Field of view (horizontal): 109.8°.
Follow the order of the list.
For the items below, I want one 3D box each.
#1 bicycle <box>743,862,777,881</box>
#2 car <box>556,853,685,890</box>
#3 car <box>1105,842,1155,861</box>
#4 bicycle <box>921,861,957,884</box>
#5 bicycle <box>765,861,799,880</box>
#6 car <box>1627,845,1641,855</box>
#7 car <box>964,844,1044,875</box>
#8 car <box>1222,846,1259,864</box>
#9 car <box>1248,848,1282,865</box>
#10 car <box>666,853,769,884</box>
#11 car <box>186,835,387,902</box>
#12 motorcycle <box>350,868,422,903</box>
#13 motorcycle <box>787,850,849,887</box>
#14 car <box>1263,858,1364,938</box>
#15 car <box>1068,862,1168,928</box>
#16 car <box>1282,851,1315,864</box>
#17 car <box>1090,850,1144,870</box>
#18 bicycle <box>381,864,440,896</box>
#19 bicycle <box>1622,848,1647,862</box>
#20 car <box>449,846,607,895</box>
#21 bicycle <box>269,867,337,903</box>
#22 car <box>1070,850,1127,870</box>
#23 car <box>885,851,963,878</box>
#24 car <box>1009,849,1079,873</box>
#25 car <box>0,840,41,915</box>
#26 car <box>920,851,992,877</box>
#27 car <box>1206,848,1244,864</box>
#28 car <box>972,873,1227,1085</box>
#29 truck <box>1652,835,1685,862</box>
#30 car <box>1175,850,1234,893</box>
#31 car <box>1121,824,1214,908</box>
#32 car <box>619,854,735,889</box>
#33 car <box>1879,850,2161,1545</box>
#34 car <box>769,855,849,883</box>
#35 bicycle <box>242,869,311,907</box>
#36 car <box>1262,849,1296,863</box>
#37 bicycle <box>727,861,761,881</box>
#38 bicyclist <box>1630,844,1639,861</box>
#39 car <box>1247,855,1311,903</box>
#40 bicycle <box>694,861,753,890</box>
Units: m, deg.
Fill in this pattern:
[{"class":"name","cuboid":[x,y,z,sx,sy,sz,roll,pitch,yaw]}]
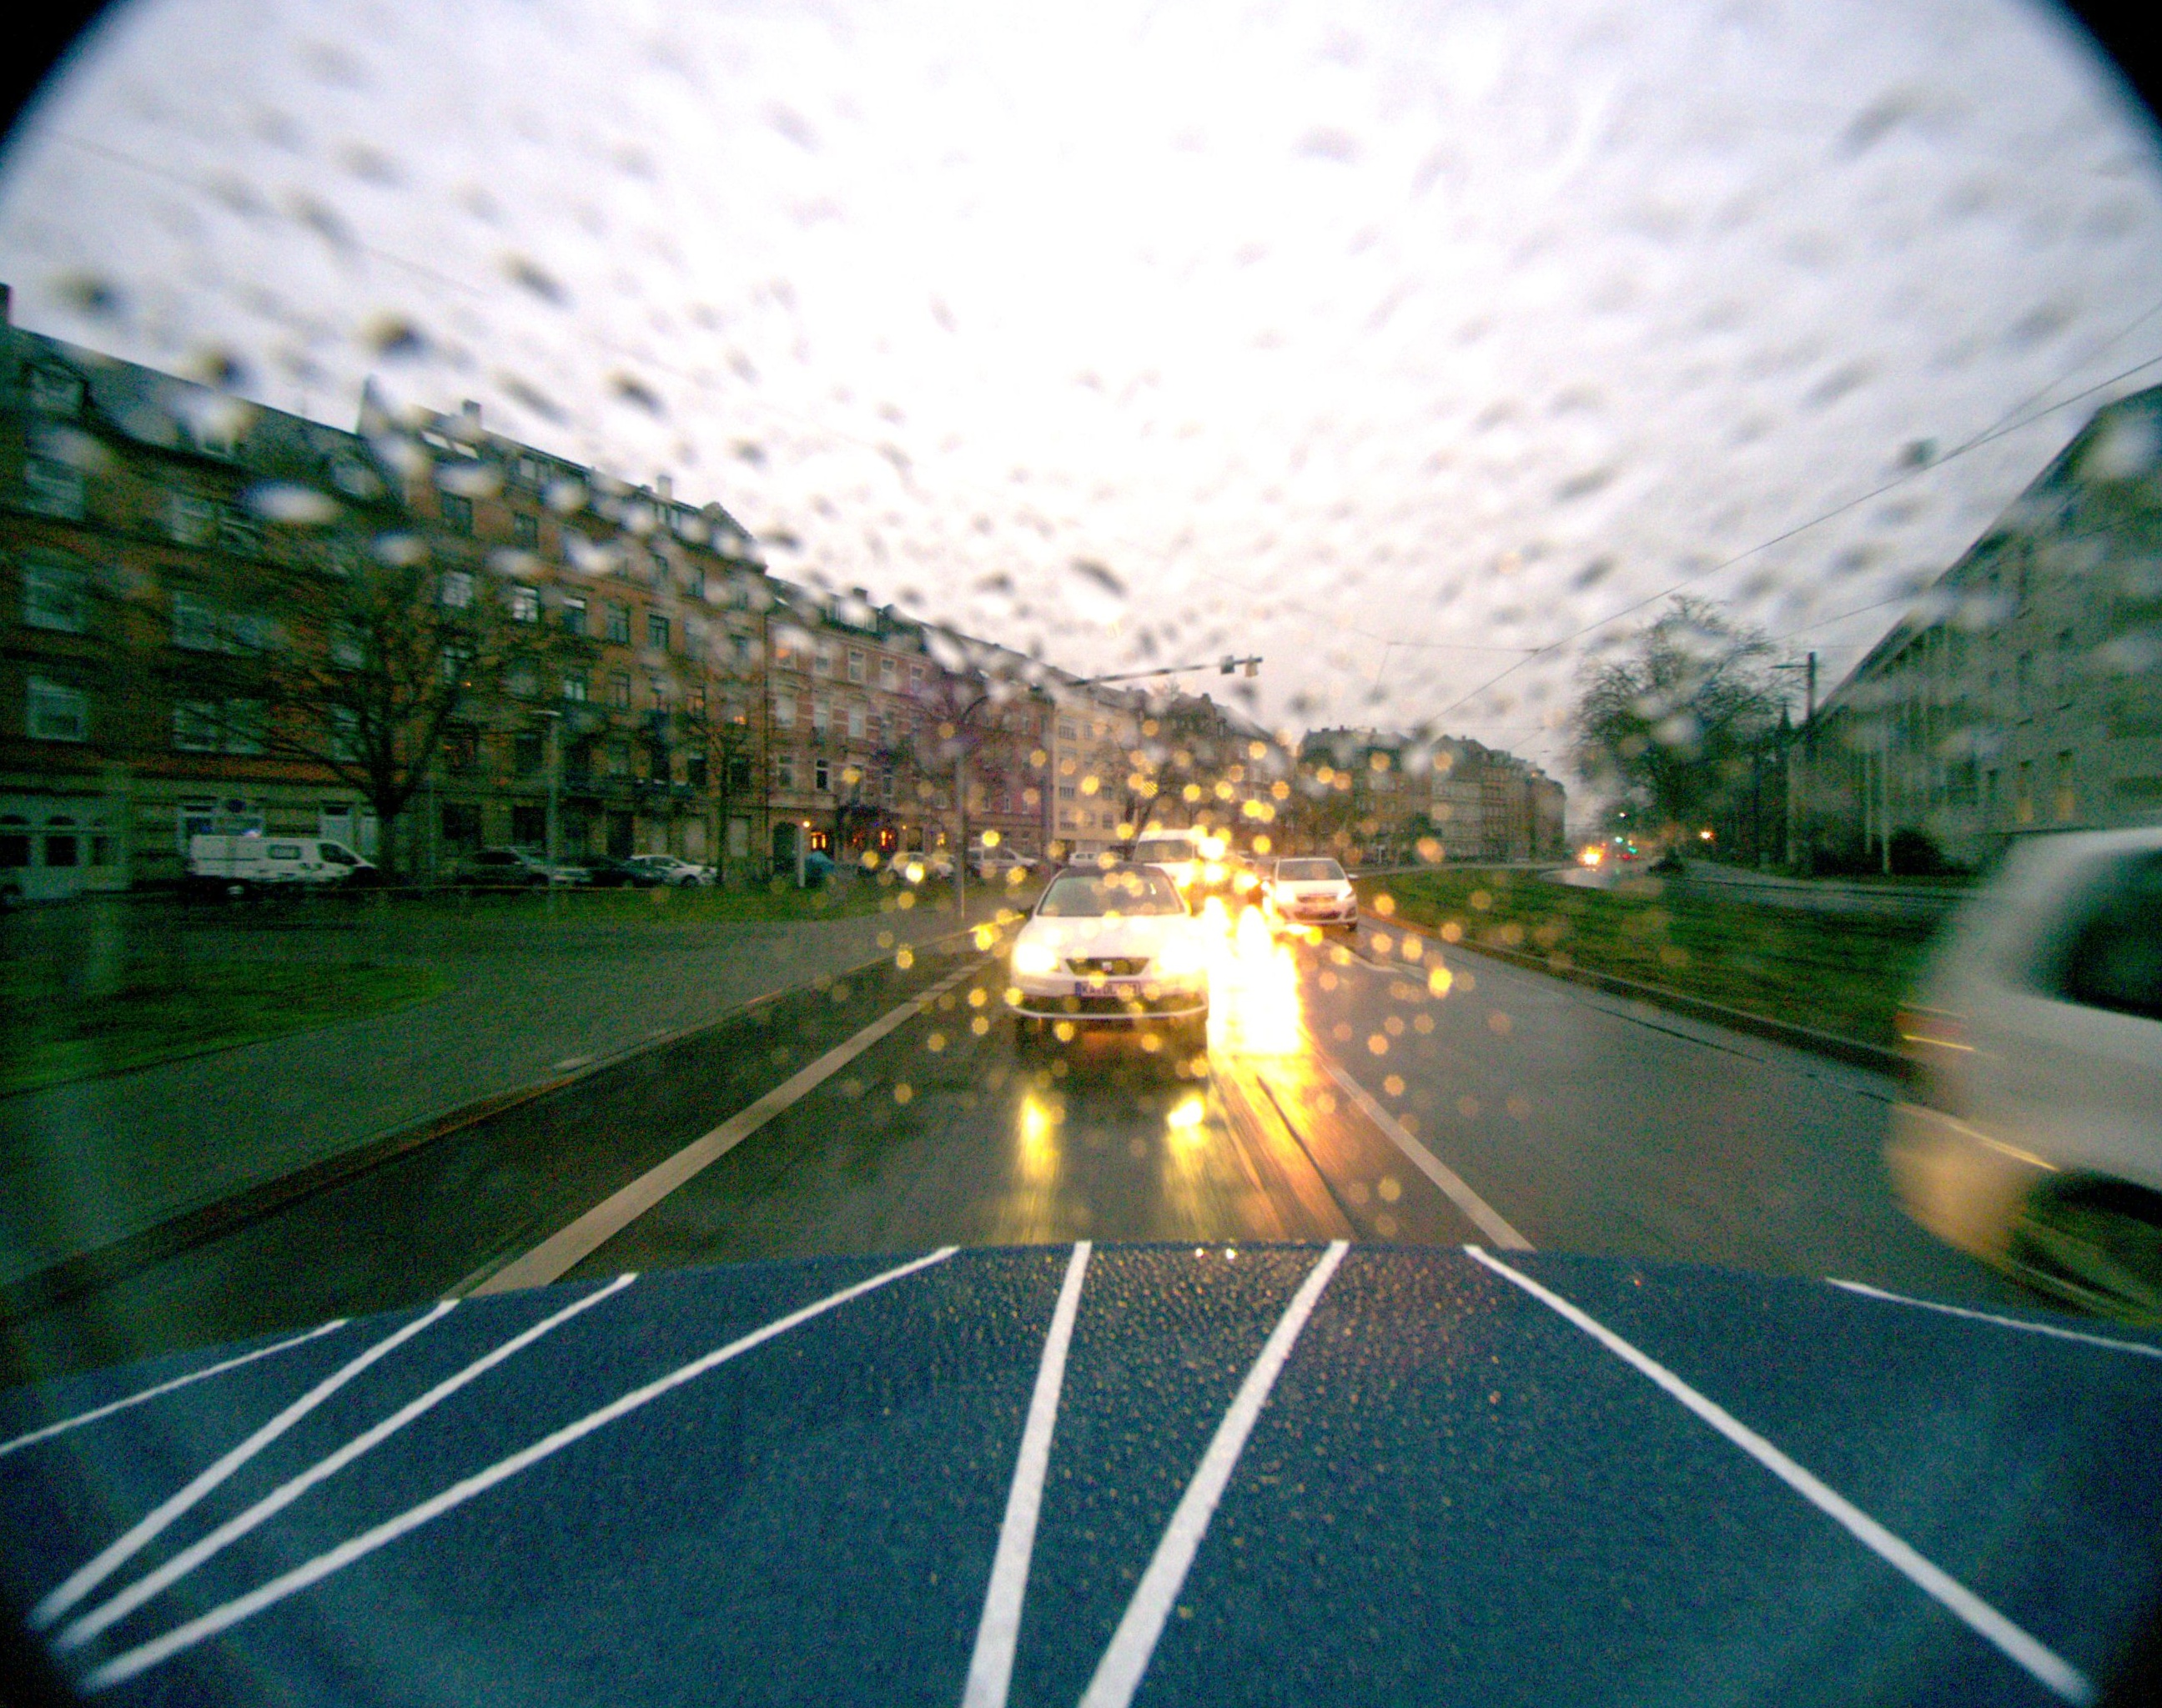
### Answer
[{"class":"bicycle","cuboid":[-14.378,0.787,34.039,1.790,0.773,0.447,2,1,31]},{"class":"car","cuboid":[-16.598,0.610,27.498,3.683,1.298,1.743,0,0,6]},{"class":"car","cuboid":[3.653,-0.162,56.071,3.610,1.362,1.618,0,0,6]},{"class":"bicycle","cuboid":[-6.376,0.818,34.127,1.790,0.926,0.447,2,1,36]},{"class":"bicycle","cuboid":[-13.805,0.741,35.106,1.790,0.813,0.395,2,1,28]},{"class":"car","cuboid":[88.839,-0.626,122.022,1.686,1.630,3.654,0,0,37]},{"class":"car","cuboid":[-4.478,0.336,44.525,4.340,1.757,1.782,0,0,7]},{"class":"car","cuboid":[14.522,0.053,69.285,3.180,1.615,1.430,0,0,15]},{"class":"car","cuboid":[17.778,0.256,73.498,3.180,1.615,1.447,0,0,15]},{"class":"car","cuboid":[-15.340,0.607,32.137,3.683,1.298,1.522,0,0,6]},{"class":"car","cuboid":[-27.999,0.466,26.951,1.994,2.176,4.671,0,0,35]},{"class":"motorcycle","cuboid":[-20.211,0.916,22.113,1.793,0.926,0.513,2,1,7]},{"class":"motorcycle","cuboid":[-10.686,0.574,30.910,2.352,1.338,0.886,3,2,21]},{"class":"car","cuboid":[4.688,0.833,15.712,1.688,1.422,3.349,-1,0,12]},{"class":"car","cuboid":[1.014,0.932,18.622,1.721,1.380,3.825,-1,0,14]},{"class":"car","cuboid":[22.603,0.358,78.957,3.180,1.276,1.383,0,0,17]},{"class":"car","cuboid":[2.566,0.421,53.625,3.608,1.362,1.619,0,0,11]},{"class":"bicycle","cuboid":[-21.141,0.803,23.947,1.792,0.926,0.446,2,1,13]},{"class":"bicycle","cuboid":[69.073,0.111,94.793,2.446,1.697,0.847,-1,1,33]},{"class":"car","cuboid":[-18.428,0.545,25.427,4.151,1.560,1.743,0,0,6]},{"class":"bicycle","cuboid":[-21.495,0.841,20.994,1.792,0.926,0.446,2,1,13]},{"class":"car","cuboid":[1.217,0.407,51.419,3.608,1.362,1.619,0,0,11]},{"class":"car","cuboid":[-8.211,0.529,39.863,3.683,1.391,1.522,0,0,8]},{"class":"car","cuboid":[-2.262,0.408,46.669,3.957,1.436,1.703,0,0,12]},{"class":"car","cuboid":[-28.247,0.610,18.219,1.946,1.931,4.588,-1,0,-26]},{"class":"car","cuboid":[-6.928,0.559,42.293,3.683,1.428,1.522,0,0,8]},{"class":"car","cuboid":[12.707,0.181,66.912,3.180,1.420,1.430,0,0,15]},{"class":"car","cuboid":[0.287,0.959,7.560,1.787,1.370,4.224,-2,0,4]},{"class":"truck","cuboid":[44.650,-0.414,57.735,1.833,2.032,4.008,0,0,40]},{"class":"car","cuboid":[5.312,0.684,32.387,1.874,1.679,4.176,-1,0,17]},{"class":"car","cuboid":[2.996,0.341,24.979,2.239,2.448,5.675,-1,0,14]},{"class":"car","cuboid":[-15.724,0.660,29.694,3.683,1.298,1.669,0,0,6]},{"class":"car","cuboid":[3.259,0.786,0.238,1.675,1.590,4.223,-1,0,2]},{"class":"car","cuboid":[-13.090,0.707,36.670,3.296,1.298,1.522,0,0,8]},{"class":"bicycle","cuboid":[-21.620,0.902,20.421,1.792,0.926,0.446,2,1,13]},{"class":"car","cuboid":[19.852,0.232,76.136,3.180,1.405,1.383,0,0,17]},{"class":"bicycle","cuboid":[-14.900,0.757,33.579,1.790,0.790,0.447,2,1,31]},{"class":"bicyclist","cuboid":[69.054,-0.179,94.800,0.777,2.002,0.831,-1,1,34]},{"class":"car","cuboid":[6.696,0.783,25.389,1.874,1.466,4.176,-1,0,17]},{"class":"bicycle","cuboid":[-13.146,0.795,27.987,1.911,1.013,0.535,1,1,-33]}]
